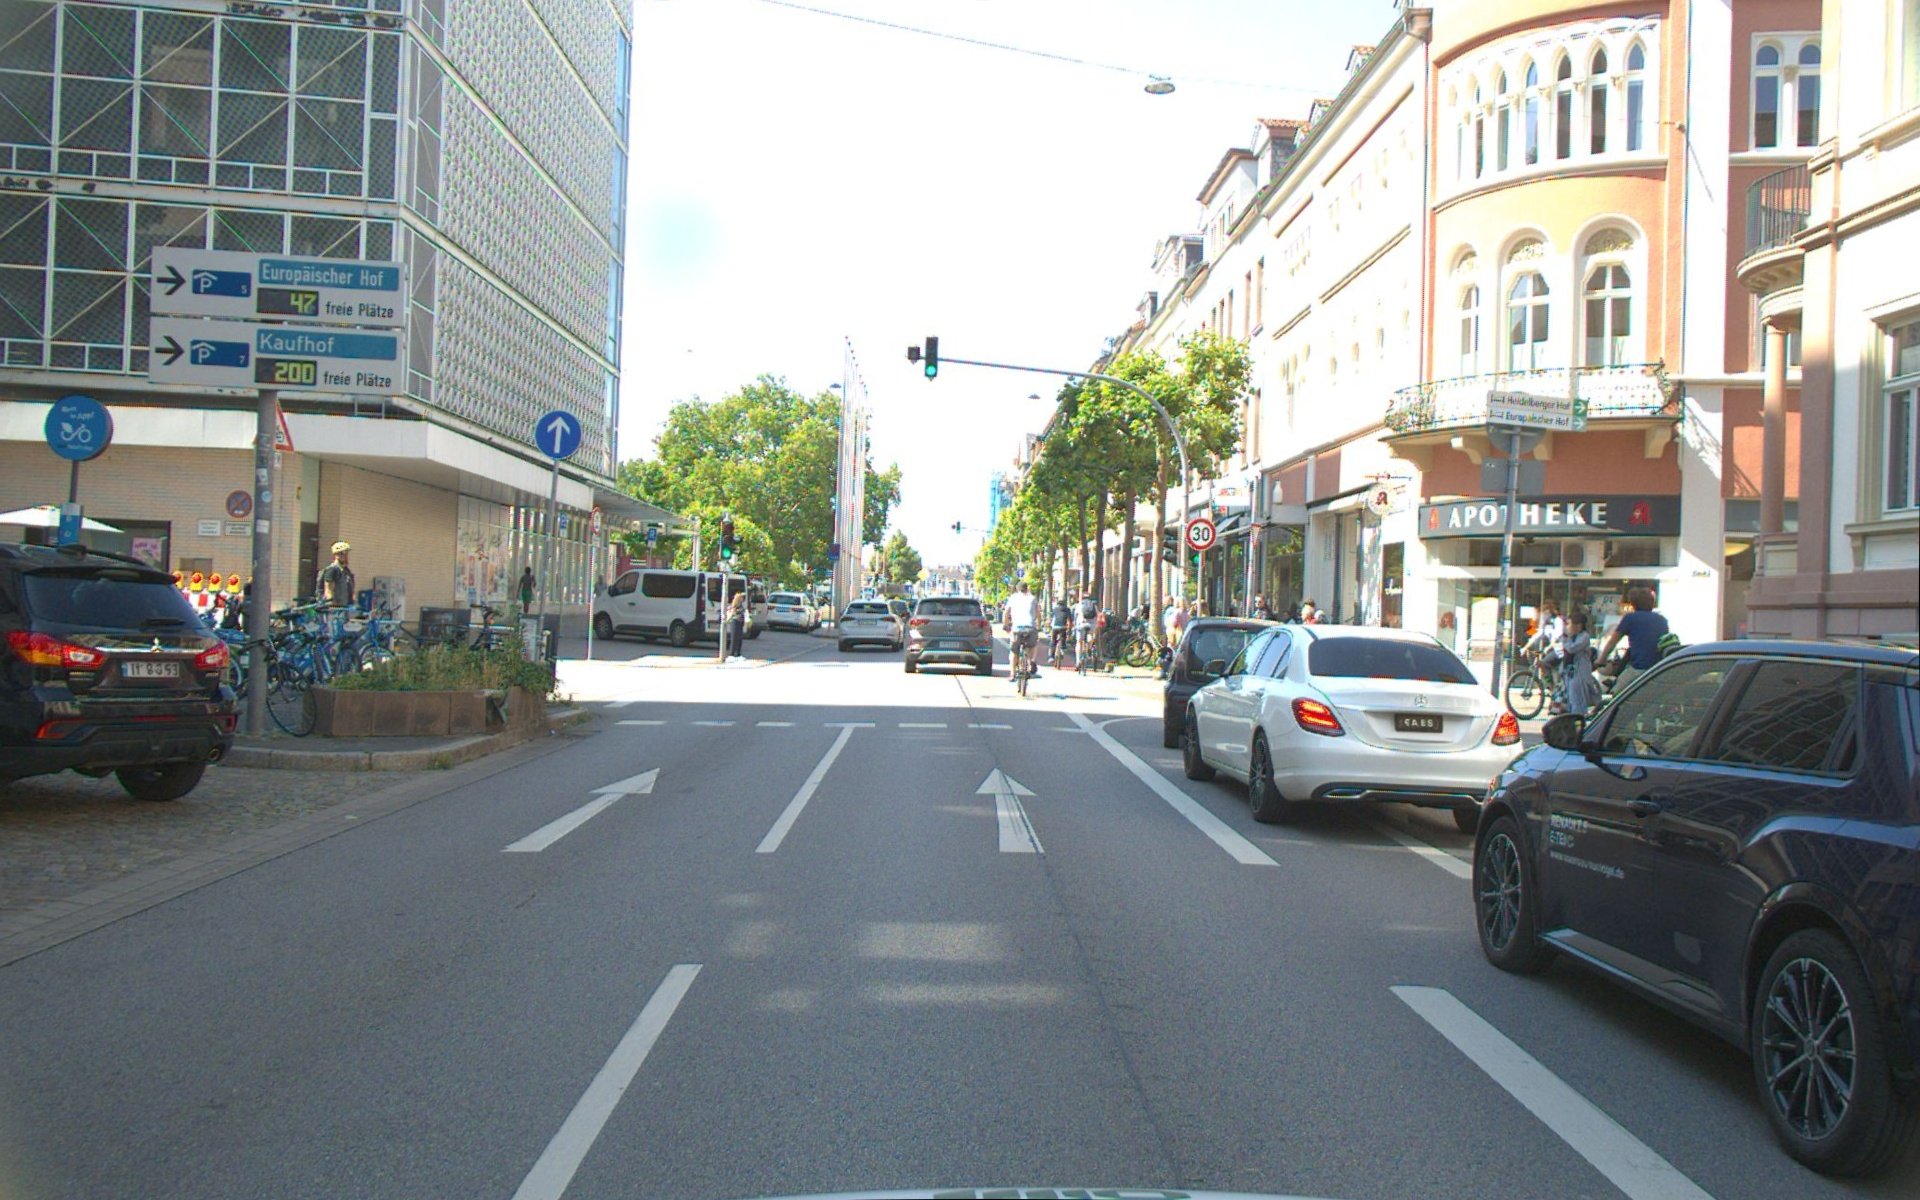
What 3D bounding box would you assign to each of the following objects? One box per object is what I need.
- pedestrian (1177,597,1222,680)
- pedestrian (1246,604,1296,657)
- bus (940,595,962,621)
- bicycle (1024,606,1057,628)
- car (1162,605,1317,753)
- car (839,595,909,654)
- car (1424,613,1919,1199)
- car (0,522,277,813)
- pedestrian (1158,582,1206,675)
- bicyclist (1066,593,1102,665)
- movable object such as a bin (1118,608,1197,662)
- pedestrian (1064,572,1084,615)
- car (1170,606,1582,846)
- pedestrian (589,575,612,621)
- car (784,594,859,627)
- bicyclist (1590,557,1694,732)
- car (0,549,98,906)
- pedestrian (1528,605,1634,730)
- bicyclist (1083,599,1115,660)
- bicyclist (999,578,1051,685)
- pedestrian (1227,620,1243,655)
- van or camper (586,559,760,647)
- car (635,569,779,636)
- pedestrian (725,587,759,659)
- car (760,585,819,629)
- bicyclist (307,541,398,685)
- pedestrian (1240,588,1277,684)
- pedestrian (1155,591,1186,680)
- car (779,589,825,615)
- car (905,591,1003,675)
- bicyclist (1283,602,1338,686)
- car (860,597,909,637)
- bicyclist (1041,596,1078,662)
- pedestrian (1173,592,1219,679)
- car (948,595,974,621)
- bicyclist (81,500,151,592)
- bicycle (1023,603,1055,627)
[{"bbox_3d":[5.094,0.808,35.171,0.771,1.720,0.641,2,0,-3],"label":"pedestrian"},{"bbox_3d":[8.671,0.852,46.151,1.208,1.447,0.789,1,-1,-3],"label":"pedestrian"},{"bbox_3d":[-1.360,1.201,240.461,2.934,3.657,11.741,2,-1,-1],"label":"bus"},{"bbox_3d":[4.338,0.895,89.009,1.692,1.128,0.477,2,0,2],"label":"bicycle"},{"bbox_3d":[3.261,0.887,19.620,1.594,1.504,3.734,2,-1,8],"label":"car"},{"bbox_3d":[-2.450,0.675,47.815,1.808,1.587,4.000,1,0,0],"label":"car"},{"bbox_3d":[3.353,0.874,6.227,1.848,1.517,4.289,3,-1,-2],"label":"car"},{"bbox_3d":[-6.816,0.297,10.916,3.940,1.630,1.958,4,-1,22],"label":"car"},{"bbox_3d":[4.318,0.569,32.203,0.627,1.739,0.789,-5,-2,-5],"label":"pedestrian"},{"bbox_3d":[2.660,0.614,35.460,0.617,1.507,1.198,2,0,-1],"label":"bicyclist"},{"bbox_3d":[4.943,0.866,41.382,1.812,1.209,0.653,4,0,15],"label":"movable object such as a bin"},{"bbox_3d":[4.740,-0.269,68.959,0.626,1.718,0.843,4,0,-3],"label":"pedestrian"},{"bbox_3d":[3.087,0.850,13.454,1.913,1.449,4.884,4,0,-2],"label":"car"},{"bbox_3d":[-12.430,-0.068,57.207,0.665,1.586,0.640,1,0,-6],"label":"pedestrian"},{"bbox_3d":[-7.573,0.551,90.819,1.854,1.568,4.858,3,3,26],"label":"car"},{"bbox_3d":[6.801,0.435,16.521,0.716,1.703,0.774,1,-1,0],"label":"bicyclist"},{"bbox_3d":[-6.544,0.407,7.512,4.071,1.665,2.104,6,0,8],"label":"car"},{"bbox_3d":[8.369,0.916,22.321,0.887,1.640,0.970,1,-3,-22],"label":"pedestrian"},{"bbox_3d":[3.231,0.695,38.494,0.588,1.381,0.720,3,-2,-4],"label":"bicyclist"},{"bbox_3d":[1.043,0.499,26.623,0.758,1.664,0.851,2,0,0],"label":"bicyclist"},{"bbox_3d":[8.055,1.095,48.439,0.357,0.985,0.437,2,0,1],"label":"pedestrian"},{"bbox_3d":[-7.685,0.054,44.124,4.573,2.048,1.990,4,1,39],"label":"van or camper"},{"bbox_3d":[-8.030,0.059,52.346,4.358,1.943,2.002,2,1,36],"label":"car"},{"bbox_3d":[-4.970,0.508,37.660,0.628,1.586,0.679,3,0,-12],"label":"pedestrian"},{"bbox_3d":[-6.531,0.257,63.868,1.762,1.549,4.738,3,0,0],"label":"car"},{"bbox_3d":[-8.723,0.187,23.785,0.824,1.994,1.017,2,-1,5],"label":"bicyclist"},{"bbox_3d":[5.948,0.714,32.920,0.625,1.875,0.615,3,-1,11],"label":"pedestrian"},{"bbox_3d":[4.377,0.731,34.473,0.443,1.826,0.607,3,0,-3],"label":"pedestrian"},{"bbox_3d":[-13.073,0.164,137.138,1.821,1.989,4.761,2,-1,20],"label":"car"},{"bbox_3d":[-0.175,0.639,33.915,1.809,1.586,3.998,1,0,-3],"label":"car"},{"bbox_3d":[6.116,0.768,28.874,0.841,1.436,0.501,1,0,0],"label":"bicyclist"},{"bbox_3d":[-2.918,0.641,64.747,1.808,1.474,3.999,1,0,-1],"label":"car"},{"bbox_3d":[2.306,0.666,38.504,0.684,1.466,0.790,3,-1,-4],"label":"bicyclist"},{"bbox_3d":[5.116,0.760,35.876,0.772,1.826,0.641,3,0,-3],"label":"pedestrian"},{"bbox_3d":[0.076,0.555,118.708,1.807,1.697,4.000,3,0,0],"label":"car"},{"bbox_3d":[-14.707,-0.939,28.822,1.062,1.566,0.729,0,1,-30],"label":"bicyclist"},{"bbox_3d":[4.256,0.816,89.370,1.692,1.238,0.477,2,0,2],"label":"bicycle"}]
